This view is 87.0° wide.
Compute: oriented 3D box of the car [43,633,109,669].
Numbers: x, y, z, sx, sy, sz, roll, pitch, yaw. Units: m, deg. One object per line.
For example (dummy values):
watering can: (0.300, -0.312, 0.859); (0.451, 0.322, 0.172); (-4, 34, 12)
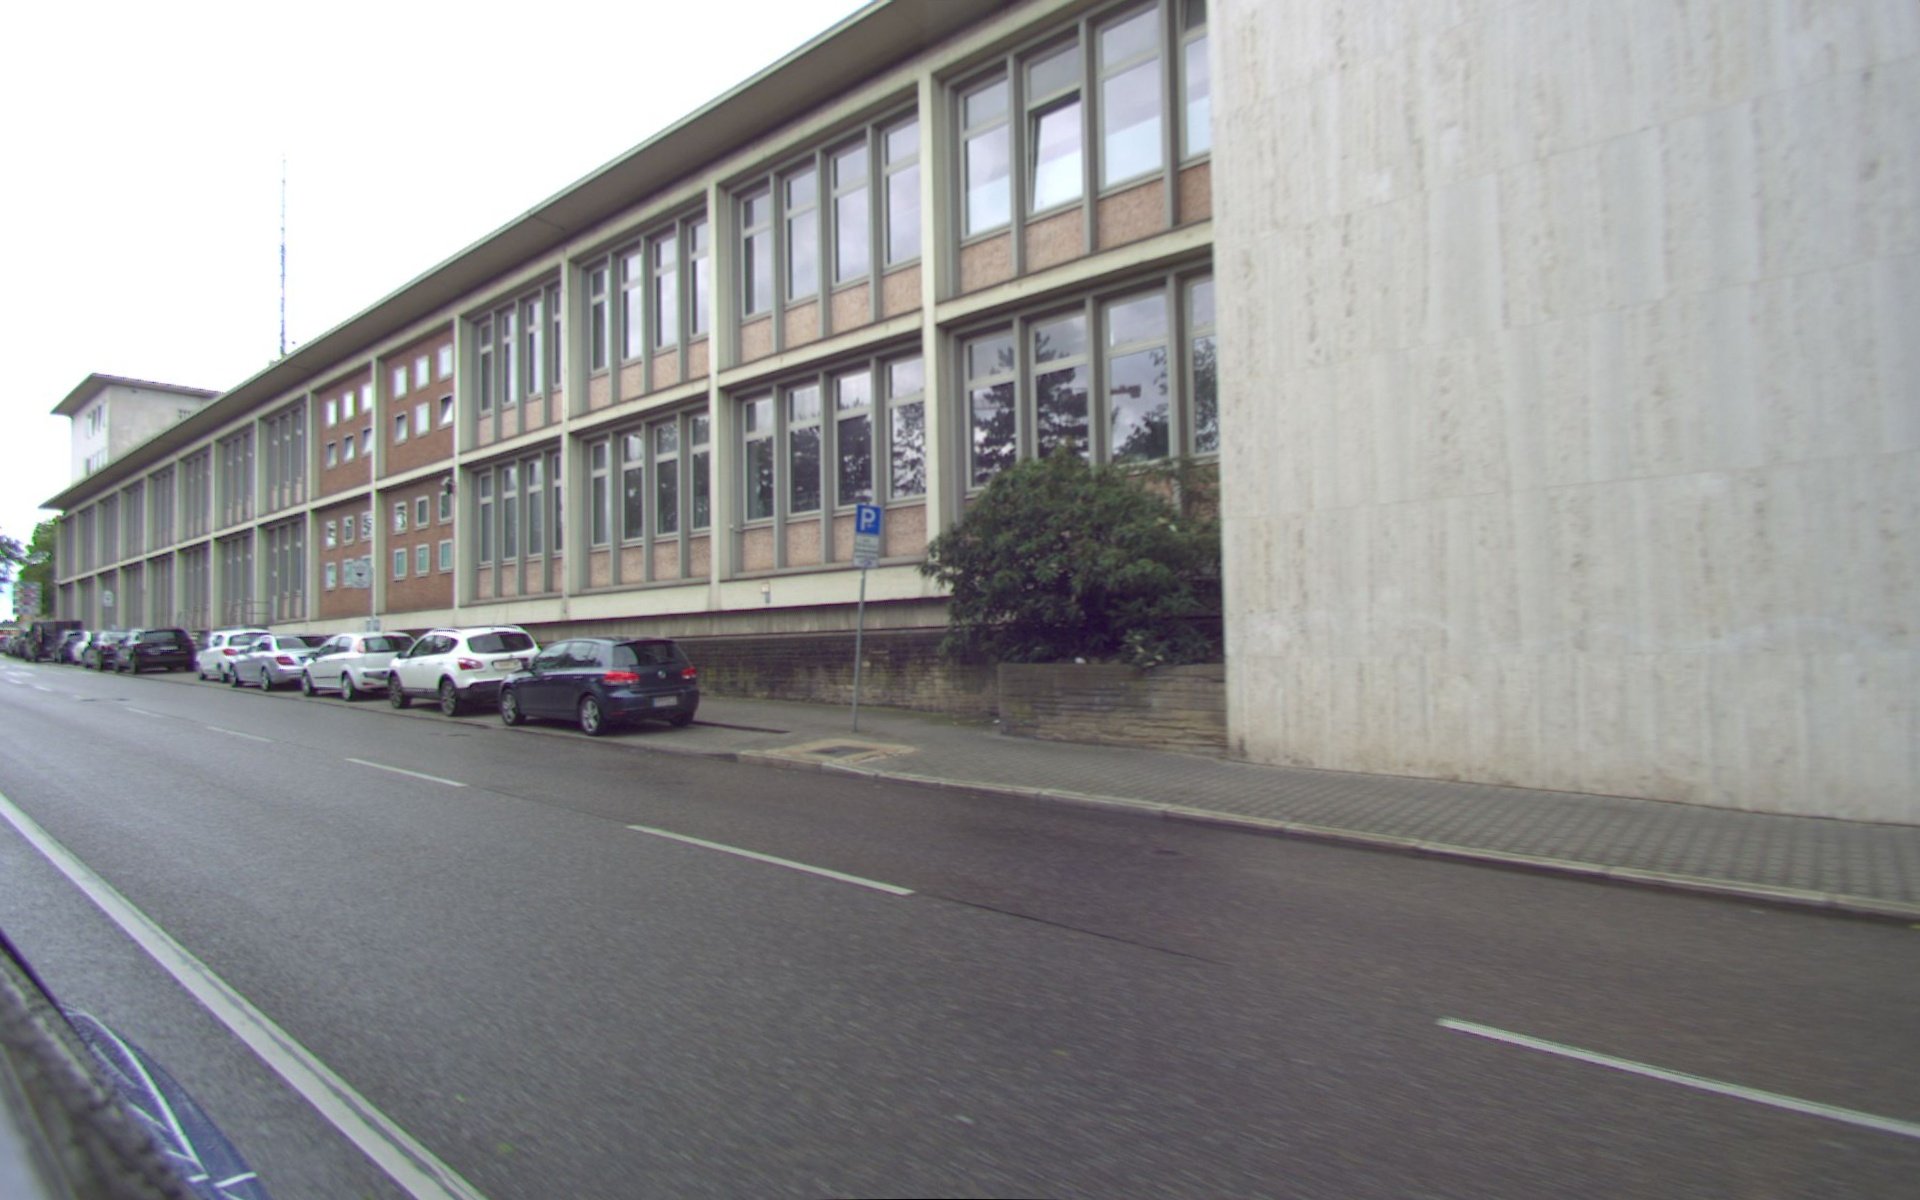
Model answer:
car: (-41.194, 2.356, 47.120); (4.312, 1.564, 1.840); (-3, -3, 43)

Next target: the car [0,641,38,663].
car: (-59.625, 3.253, 64.018); (4.094, 1.307, 1.672); (-3, -3, 45)

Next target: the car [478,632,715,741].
car: (-5.987, 1.300, 16.437); (4.177, 1.491, 1.730); (-2, -1, 40)

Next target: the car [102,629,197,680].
car: (-29.147, 1.908, 36.357); (4.512, 1.666, 1.823); (-1, 0, 40)

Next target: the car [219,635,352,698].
car: (-17.948, 1.692, 26.847); (4.482, 1.446, 1.730); (-1, 0, 40)

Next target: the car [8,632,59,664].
car: (-51.697, 2.666, 56.420); (4.604, 1.688, 1.777); (-2, -2, 44)

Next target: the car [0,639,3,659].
car: (-84.300, 4.261, 87.826); (1.800, 1.673, 4.341); (2, -3, -43)

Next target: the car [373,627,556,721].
car: (-9.832, 1.382, 19.942); (4.179, 1.610, 1.730); (-2, -1, 41)

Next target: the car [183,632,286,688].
car: (-21.897, 1.764, 30.512); (3.918, 1.534, 1.662); (-1, -1, 41)

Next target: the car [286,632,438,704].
car: (-13.962, 1.510, 23.552); (4.177, 1.465, 1.730); (-2, -1, 40)

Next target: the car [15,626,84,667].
car: (-45.258, 2.280, 50.257); (4.993, 1.958, 1.929); (-2, -2, 41)

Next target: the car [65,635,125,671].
car: (-37.639, 2.284, 44.014); (3.552, 1.495, 1.549); (-3, -3, 43)

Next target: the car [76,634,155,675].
car: (-33.570, 2.148, 40.177); (4.909, 1.495, 1.796); (-3, -3, 43)
